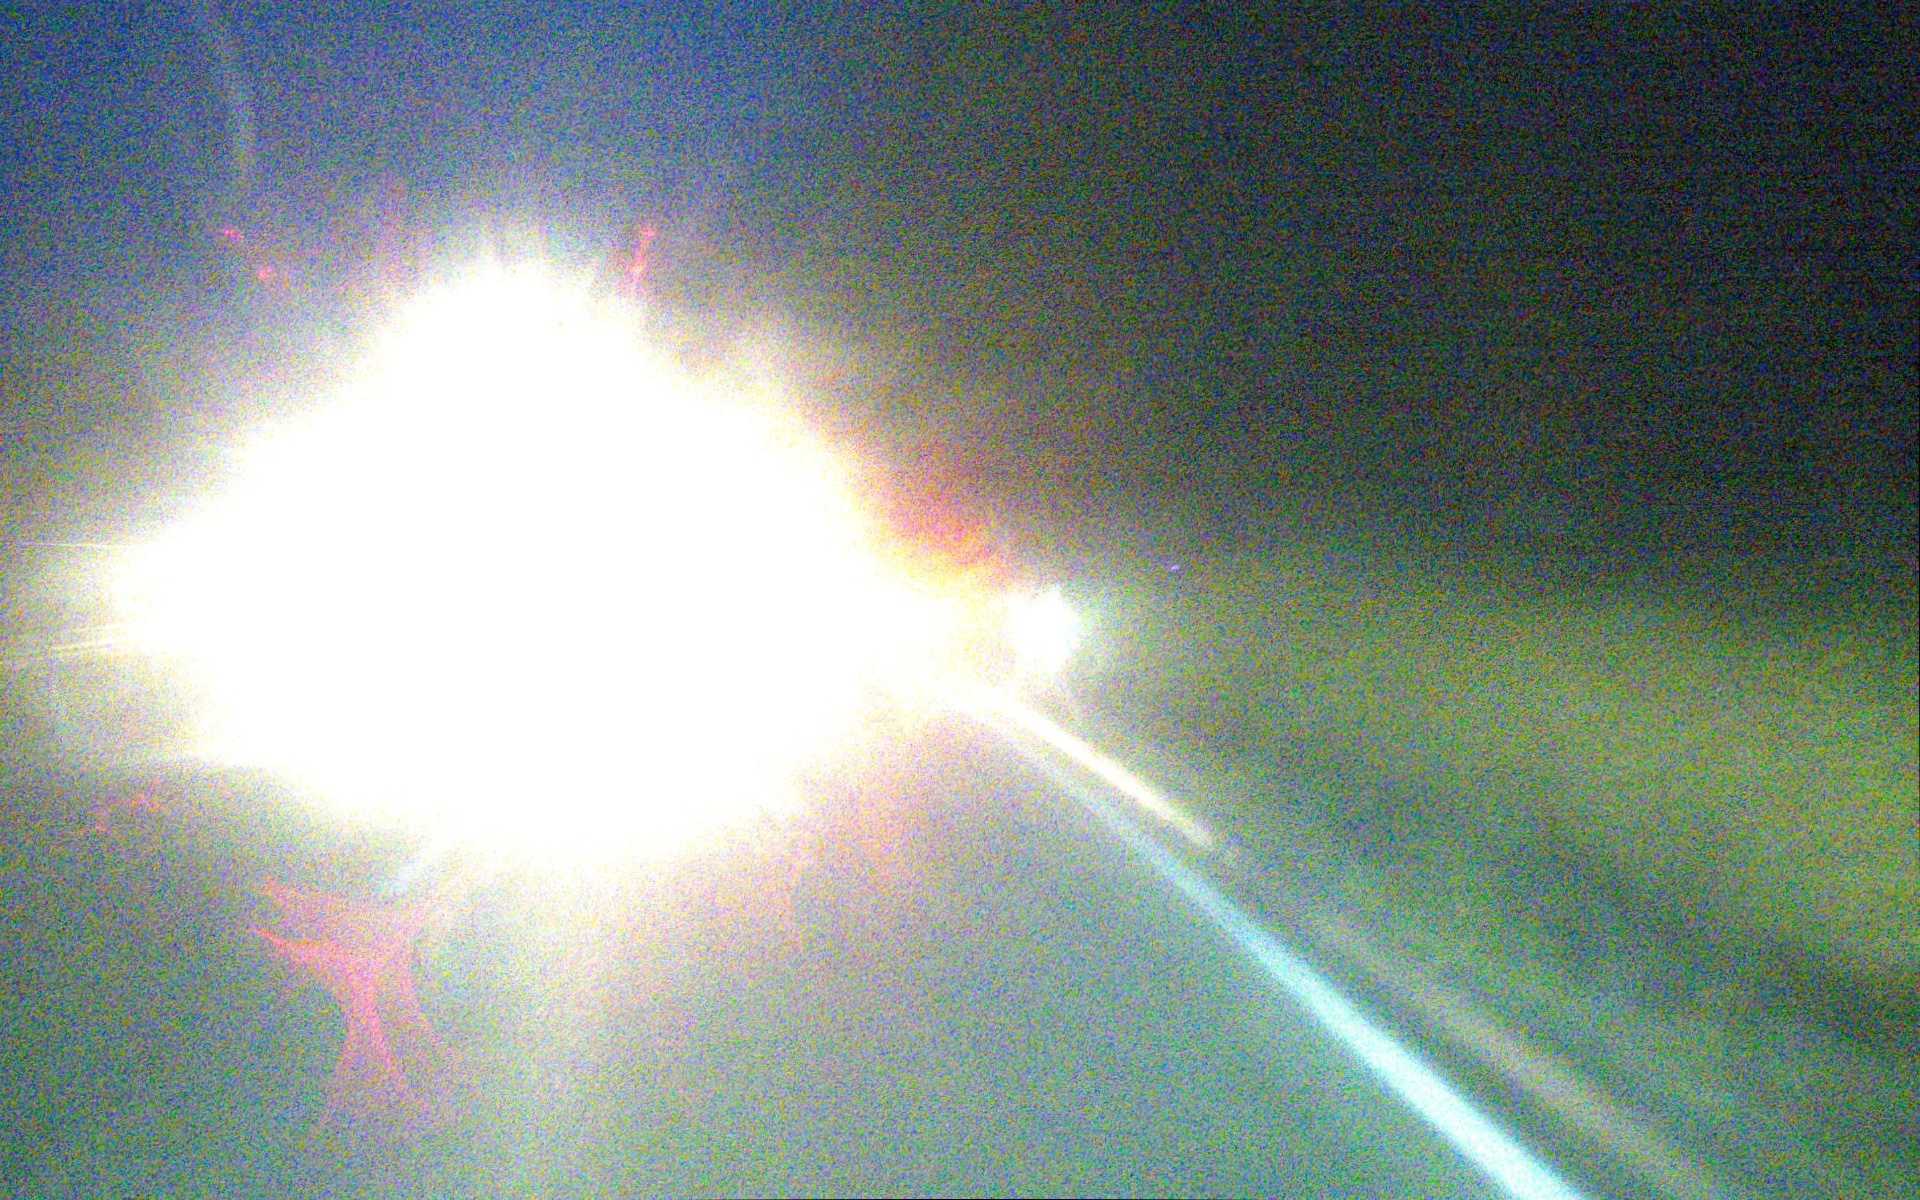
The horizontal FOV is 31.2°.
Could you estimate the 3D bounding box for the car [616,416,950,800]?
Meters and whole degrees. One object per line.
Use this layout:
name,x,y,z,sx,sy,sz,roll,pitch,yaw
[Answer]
car,-1.363,-0.004,25.961,2.180,2.548,4.509,3,1,-4

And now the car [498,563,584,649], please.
car,-10.204,0.119,83.981,1.993,2.007,4.457,-1,1,-6
